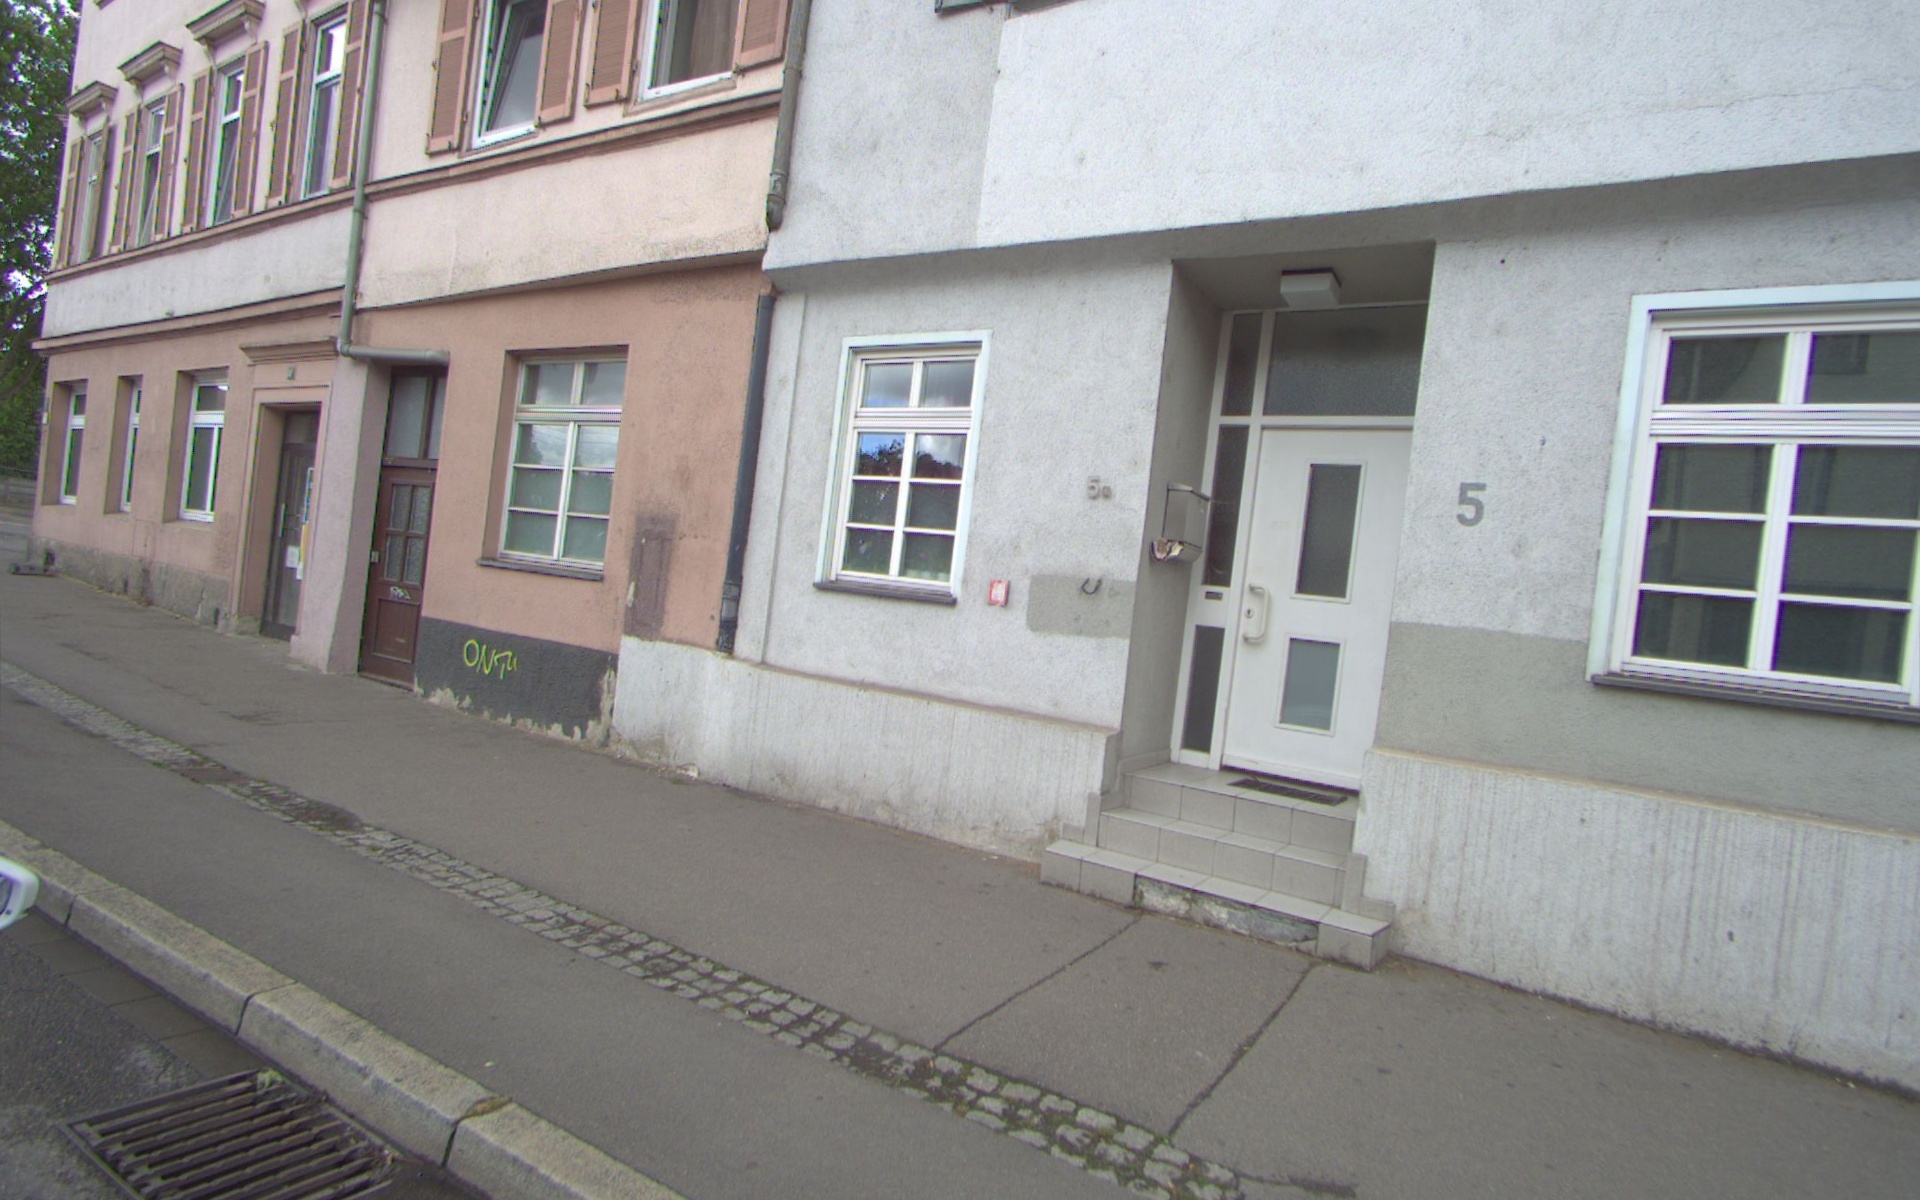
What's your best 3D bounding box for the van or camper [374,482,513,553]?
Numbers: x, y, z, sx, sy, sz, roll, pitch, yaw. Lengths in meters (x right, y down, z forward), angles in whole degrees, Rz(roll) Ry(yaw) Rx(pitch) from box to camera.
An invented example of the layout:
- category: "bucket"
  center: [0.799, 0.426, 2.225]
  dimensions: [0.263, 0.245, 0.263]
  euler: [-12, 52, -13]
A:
- category: "van or camper"
  center: [-24.526, -3.871, 47.996]
  dimensions: [2.005, 2.543, 5.394]
  euler: [5, -2, 36]
